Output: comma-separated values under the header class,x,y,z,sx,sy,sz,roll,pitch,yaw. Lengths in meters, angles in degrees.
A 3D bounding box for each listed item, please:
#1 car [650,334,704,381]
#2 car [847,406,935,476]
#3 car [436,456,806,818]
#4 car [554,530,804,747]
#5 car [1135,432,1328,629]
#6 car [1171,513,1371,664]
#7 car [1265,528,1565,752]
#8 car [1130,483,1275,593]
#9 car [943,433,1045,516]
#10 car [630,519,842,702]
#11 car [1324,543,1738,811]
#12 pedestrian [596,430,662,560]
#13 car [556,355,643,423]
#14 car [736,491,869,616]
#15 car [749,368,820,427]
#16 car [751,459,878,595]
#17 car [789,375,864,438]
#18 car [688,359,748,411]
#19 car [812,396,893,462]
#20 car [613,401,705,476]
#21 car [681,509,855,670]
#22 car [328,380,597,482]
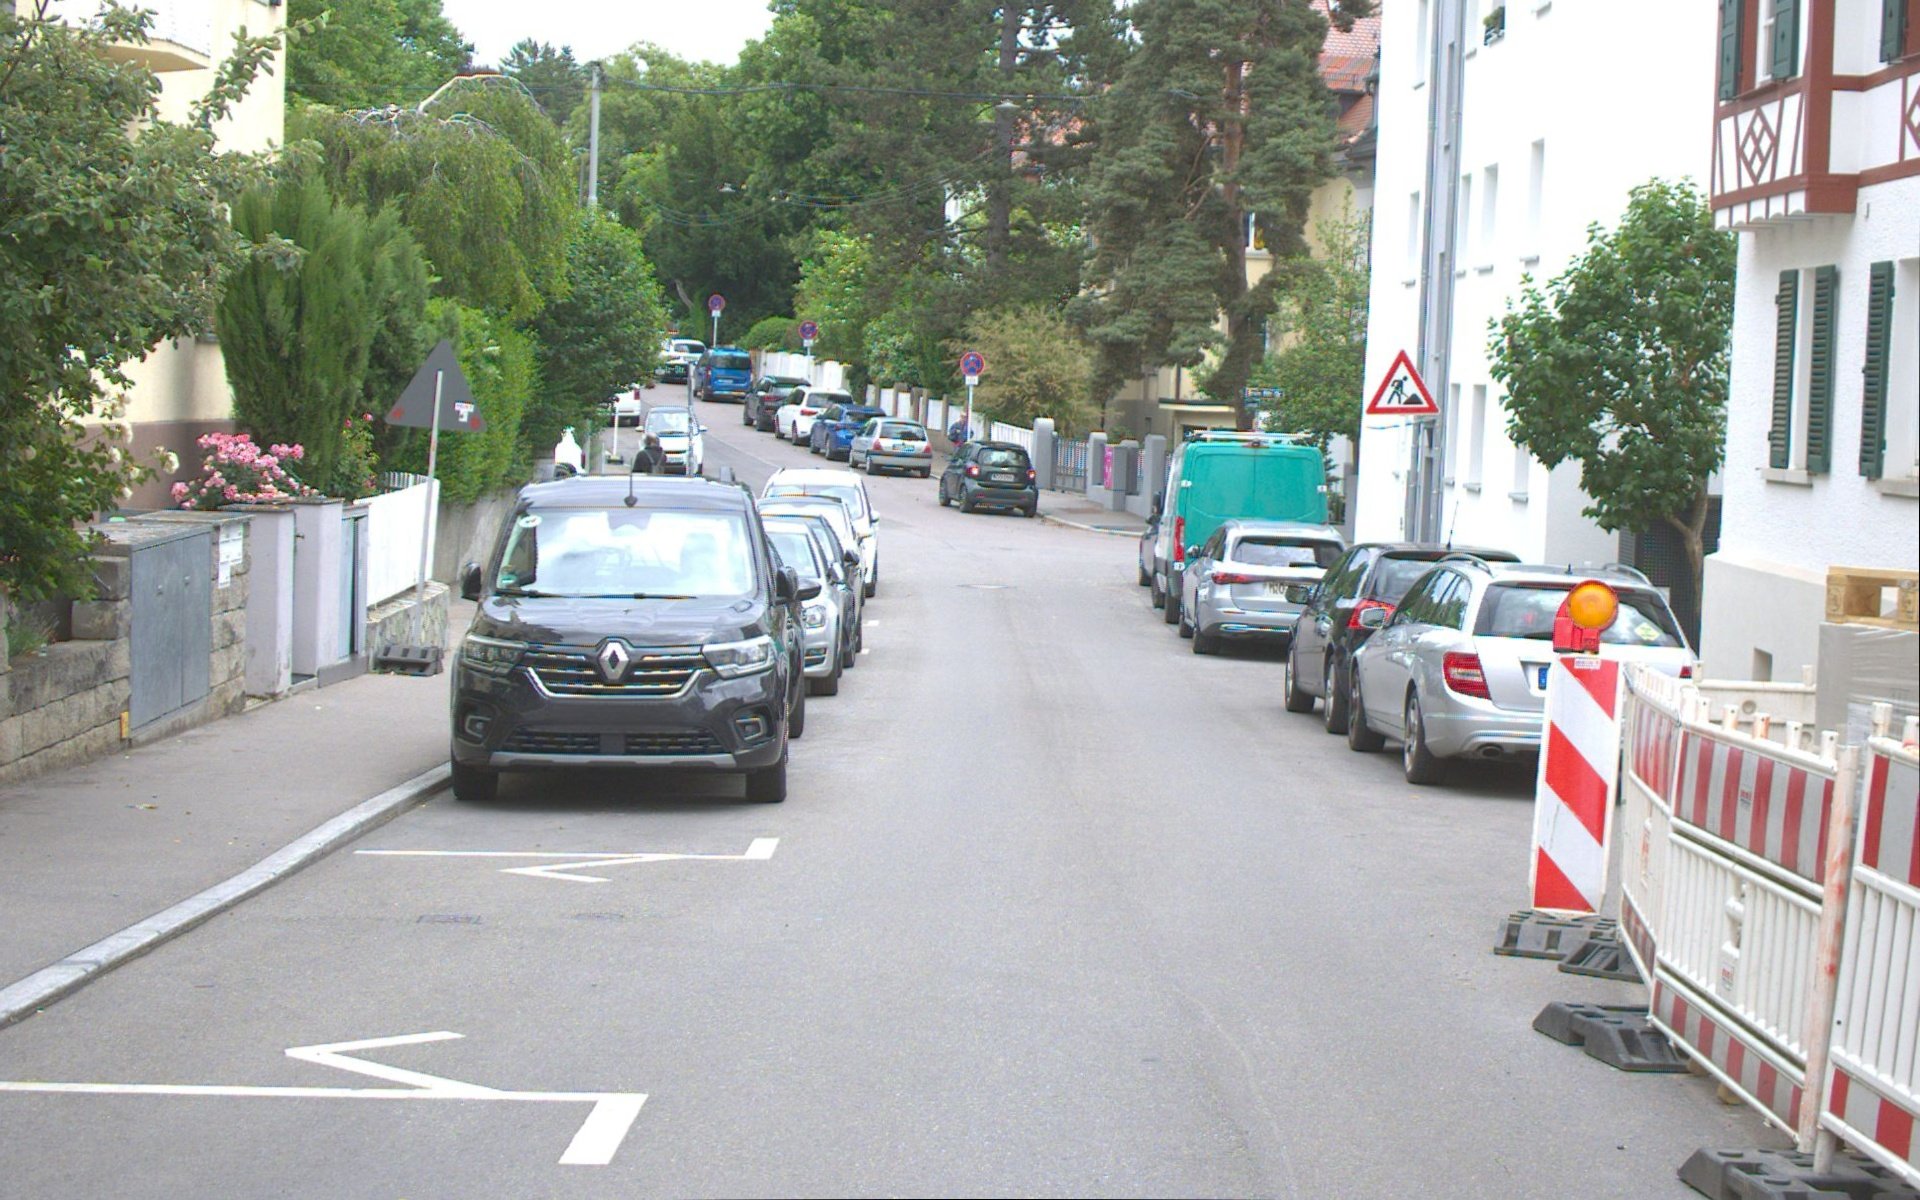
class,x,y,z,sx,sy,sz,roll,pitch,yaw
car,-10.523,-9.016,127.744,1.634,1.532,3.532,3,5,-9
car,-1.762,-4.025,86.839,1.634,1.478,3.532,3,5,-9
car,-1.866,0.148,19.844,1.844,1.809,4.545,1,1,-3
car,-1.983,0.223,25.120,1.642,1.383,3.860,1,2,-2
car,3.475,-0.961,44.747,1.980,2.354,4.278,2,3,-1
car,3.409,-0.167,38.345,1.725,1.443,3.881,2,3,-1
car,3.531,0.256,27.309,1.689,1.514,3.881,3,2,-1
car,3.558,-0.945,51.012,1.725,1.443,3.881,2,3,-1
car,0.717,-2.759,75.003,1.634,1.478,3.532,3,5,-8
car,-1.884,0.042,29.880,1.642,1.412,3.984,1,2,-1
car,3.648,0.428,22.779,1.818,1.437,4.452,3,2,-1
pedestrian,-5.041,-1.599,52.409,0.791,1.926,0.919,3,2,2
car,-10.789,-6.329,102.700,1.903,1.870,4.598,0,5,-15
car,-2.001,-0.631,44.365,1.596,1.408,3.663,1,3,-1
car,-5.287,-6.088,103.200,1.634,1.532,3.532,3,5,-9
car,-2.019,-1.063,48.561,1.672,1.651,3.864,1,5,-1
car,-3.806,-5.510,97.518,1.634,1.532,3.532,3,5,-9
car,-8.289,-7.357,117.546,1.634,1.532,3.532,3,5,-9
car,-2.877,-4.559,91.340,1.634,1.478,3.532,3,5,-9
car,-7.379,-3.971,84.060,1.672,1.651,3.865,0,5,-13
car,-1.883,-0.154,34.652,1.596,1.473,3.992,1,2,-1
car,-9.350,-3.180,64.954,1.999,1.634,4.801,5,3,42
